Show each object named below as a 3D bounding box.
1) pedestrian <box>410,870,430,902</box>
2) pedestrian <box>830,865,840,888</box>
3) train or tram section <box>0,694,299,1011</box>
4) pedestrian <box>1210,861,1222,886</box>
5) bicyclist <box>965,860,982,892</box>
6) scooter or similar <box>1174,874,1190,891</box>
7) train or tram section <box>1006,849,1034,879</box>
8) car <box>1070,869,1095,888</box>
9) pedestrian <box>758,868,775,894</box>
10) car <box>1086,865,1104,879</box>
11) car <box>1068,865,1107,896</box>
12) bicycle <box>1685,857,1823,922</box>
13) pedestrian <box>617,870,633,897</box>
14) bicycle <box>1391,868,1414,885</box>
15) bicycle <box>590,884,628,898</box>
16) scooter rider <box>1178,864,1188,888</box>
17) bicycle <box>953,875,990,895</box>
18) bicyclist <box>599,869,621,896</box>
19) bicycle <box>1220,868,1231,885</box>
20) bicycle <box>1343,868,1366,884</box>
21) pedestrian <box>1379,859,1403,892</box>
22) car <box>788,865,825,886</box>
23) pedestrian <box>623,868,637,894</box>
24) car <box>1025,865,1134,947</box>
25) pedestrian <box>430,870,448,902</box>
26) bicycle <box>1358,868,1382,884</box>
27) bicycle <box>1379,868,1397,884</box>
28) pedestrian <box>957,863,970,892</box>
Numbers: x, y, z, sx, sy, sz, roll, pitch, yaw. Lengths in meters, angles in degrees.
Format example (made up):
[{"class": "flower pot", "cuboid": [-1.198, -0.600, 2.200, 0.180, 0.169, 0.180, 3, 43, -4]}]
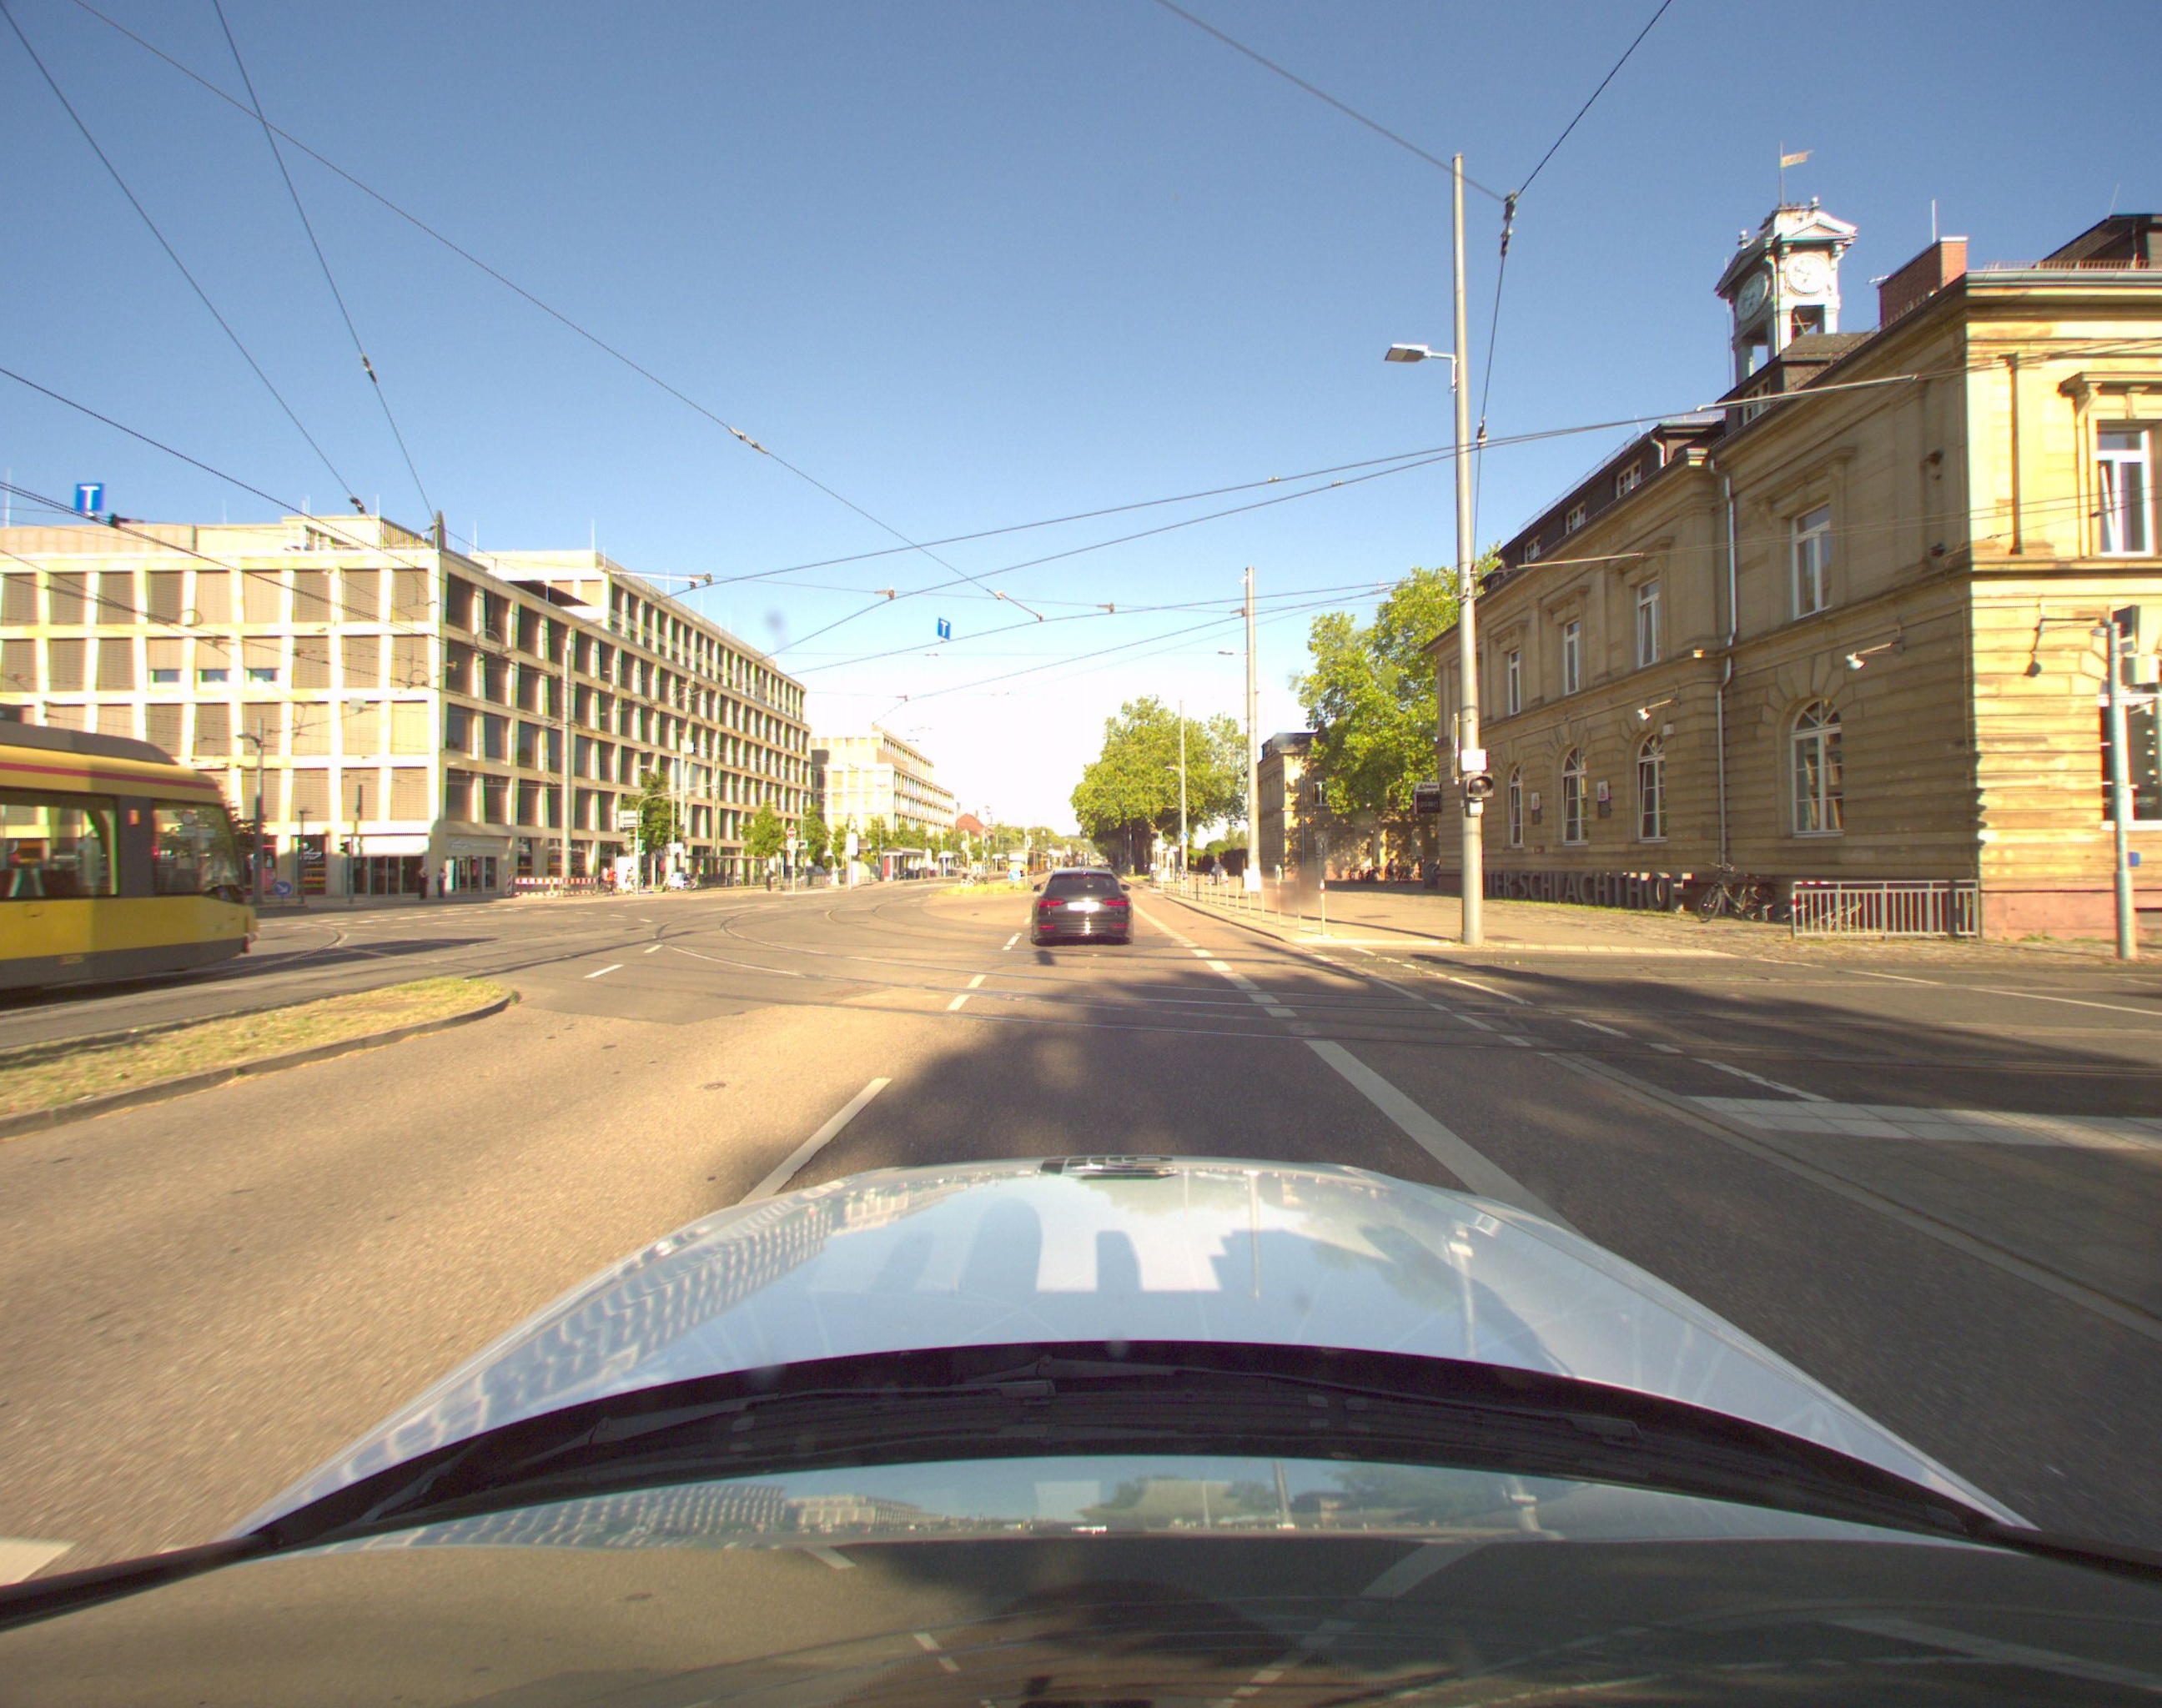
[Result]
[{"class": "pedestrian", "cuboid": [-34.175, 1.655, 42.112, 0.582, 1.636, 0.538, -1, -1, 17]}, {"class": "pedestrian", "cuboid": [-17.997, 1.606, 59.522, 0.620, 1.664, 0.510, -1, -1, -24]}, {"class": "train or tram section", "cuboid": [-13.378, -0.025, 6.214, 2.802, 3.489, 12.157, -1, 0, 2]}, {"class": "pedestrian", "cuboid": [9.235, 1.314, 55.581, 0.680, 1.661, 0.758, -1, -1, 0]}, {"class": "bicyclist", "cuboid": [-6.202, 1.282, 46.949, 0.759, 1.819, 0.759, -1, -1, -20]}, {"class": "scooter or similar", "cuboid": [6.033, 1.703, 48.669, 0.935, 0.966, 0.361, -2, -2, -1]}, {"class": "train or tram section", "cuboid": [-7.430, 1.150, 100.368, 2.600, 3.451, 11.130, -1, 0, 0]}, {"class": "car", "cuboid": [0.131, 1.987, 67.534, 1.895, 1.486, 4.146, 0, -1, 2]}, {"class": "pedestrian", "cuboid": [-18.783, 1.613, 48.657, 0.753, 1.532, 0.625, -1, -1, 5]}, {"class": "car", "cuboid": [1.615, 2.017, 92.068, 1.895, 1.486, 4.146, 0, -1, 2]}, {"class": "car", "cuboid": [0.409, 1.345, 42.165, 1.895, 1.486, 4.146, 0, -1, 2]}, {"class": "bicycle", "cuboid": [13.524, 0.697, 16.396, 2.130, 1.209, 0.765, -2, -1, -1]}, {"class": "pedestrian", "cuboid": [-26.726, 1.720, 47.747, 0.590, 1.525, 0.585, -1, -1, 9]}, {"class": "bicycle", "cuboid": [21.938, 1.529, 55.610, 0.524, 1.047, 2.228, -1, 0, -3]}, {"class": "bicycle", "cuboid": [-27.104, 2.121, 46.761, 1.962, 0.775, 0.621, -1, -1, 9]}, {"class": "scooter rider", "cuboid": [6.091, 1.321, 48.681, 0.483, 1.386, 0.377, -2, -2, -1]}, {"class": "bicycle", "cuboid": [-6.305, 1.774, 46.869, 2.012, 1.108, 0.759, -1, -1, -20]}, {"class": "bicyclist", "cuboid": [-27.009, 1.629, 46.707, 0.700, 1.525, 0.787, -1, -1, 10]}, {"class": "bicycle", "cuboid": [9.861, 1.544, 55.592, 0.433, 1.145, 1.340, -1, 0, 0]}, {"class": "bicycle", "cuboid": [18.415, 1.469, 54.952, 0.525, 1.047, 2.354, -1, 0, -6]}, {"class": "pedestrian", "cuboid": [17.778, 1.247, 46.680, 0.979, 1.865, 0.823, -1, -1, -12]}, {"class": "car", "cuboid": [-24.821, 1.898, 73.826, 1.835, 1.812, 4.113, -1, -1, 1]}, {"class": "pedestrian", "cuboid": [-27.307, 1.611, 49.332, 0.599, 1.574, 0.576, 0, -1, -41]}, {"class": "car", "cuboid": [0.056, 0.937, 16.240, 1.895, 1.422, 4.146, 0, -1, 2]}, {"class": "pedestrian", "cuboid": [-33.515, 1.674, 42.520, 0.581, 1.636, 0.539, -1, -1, 22]}, {"class": "bicycle", "cuboid": [19.475, 1.481, 54.913, 0.525, 1.047, 2.354, -1, 0, -6]}, {"class": "bicycle", "cuboid": [20.875, 1.511, 55.419, 0.523, 1.047, 2.232, -1, 0, 3]}, {"class": "pedestrian", "cuboid": [-7.021, 1.398, 48.718, 0.739, 1.741, 0.661, -1, -1, -9]}]
